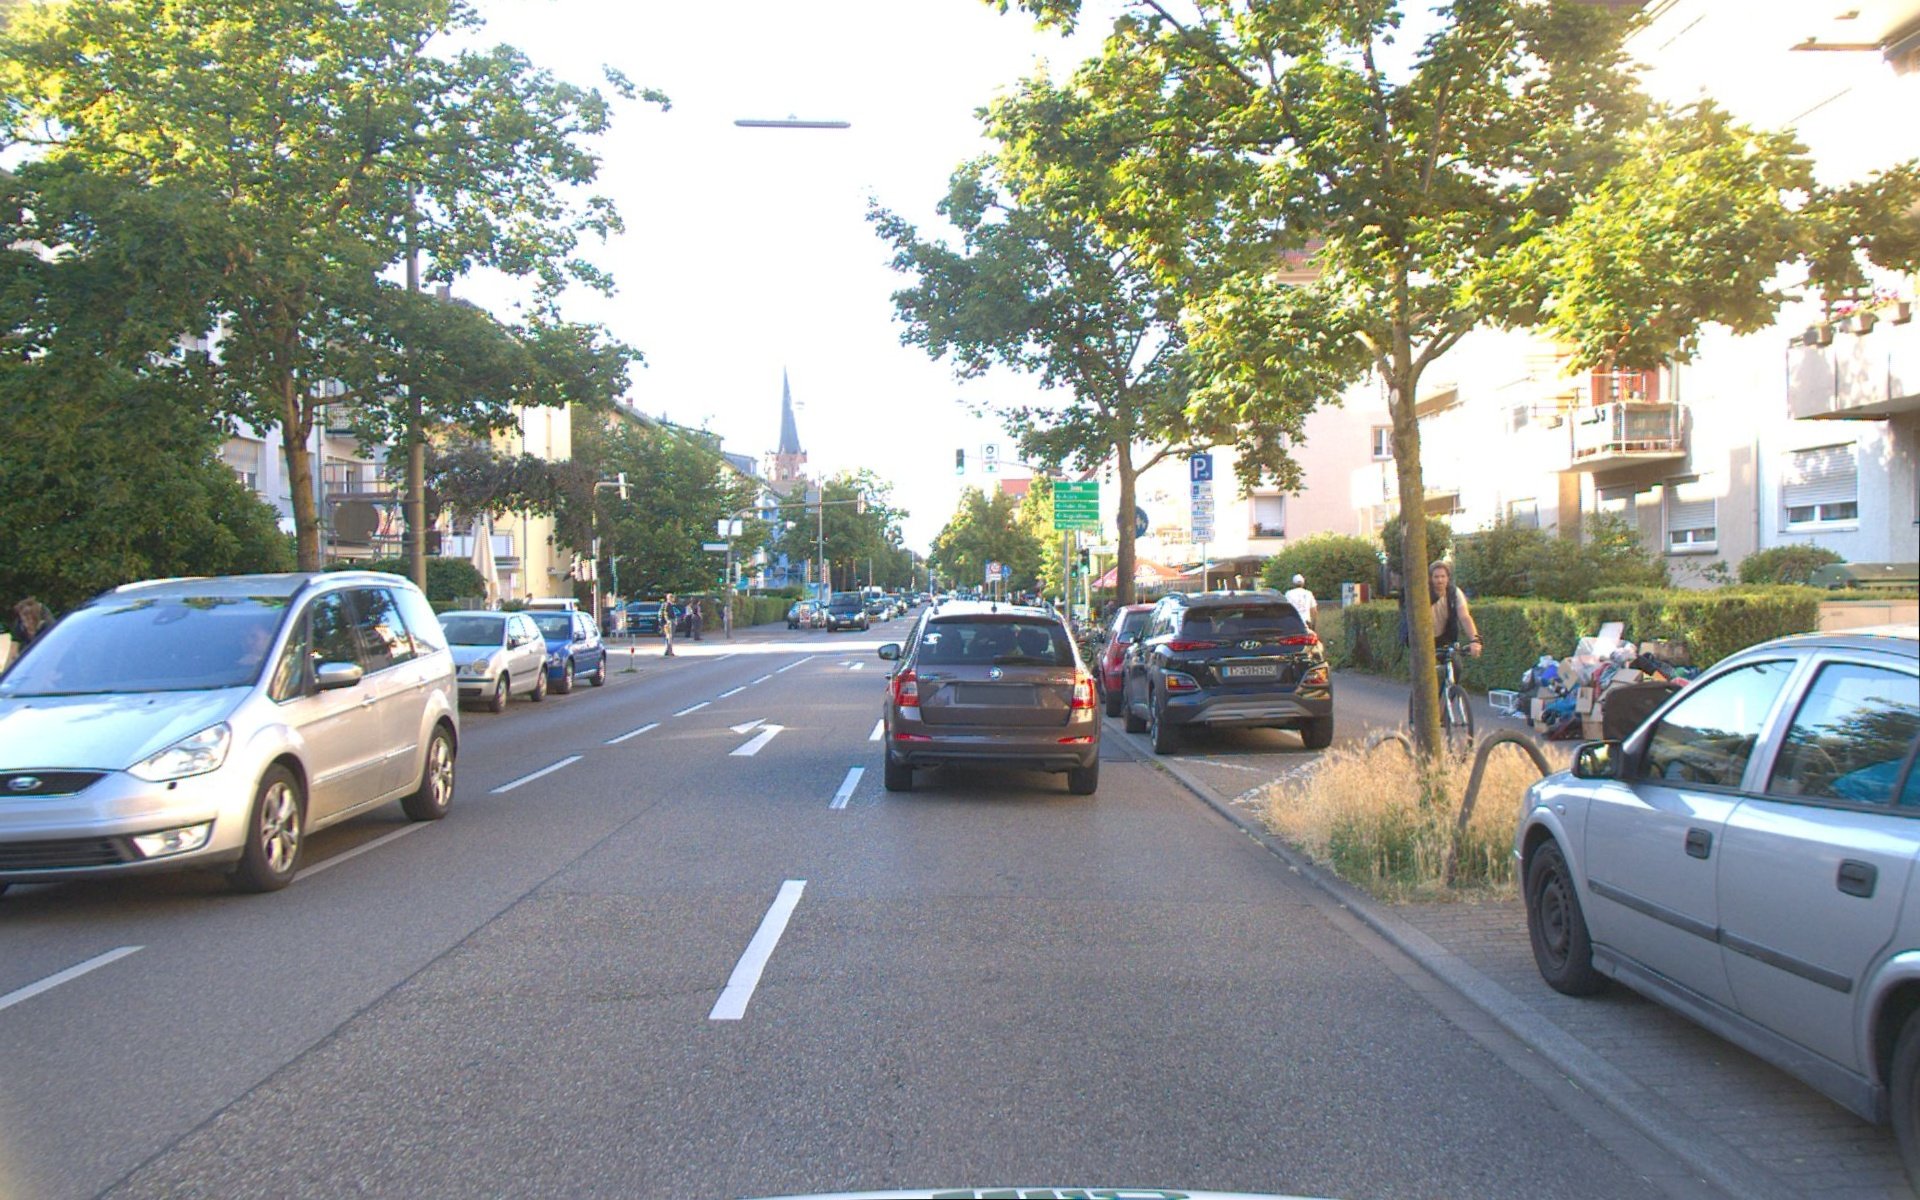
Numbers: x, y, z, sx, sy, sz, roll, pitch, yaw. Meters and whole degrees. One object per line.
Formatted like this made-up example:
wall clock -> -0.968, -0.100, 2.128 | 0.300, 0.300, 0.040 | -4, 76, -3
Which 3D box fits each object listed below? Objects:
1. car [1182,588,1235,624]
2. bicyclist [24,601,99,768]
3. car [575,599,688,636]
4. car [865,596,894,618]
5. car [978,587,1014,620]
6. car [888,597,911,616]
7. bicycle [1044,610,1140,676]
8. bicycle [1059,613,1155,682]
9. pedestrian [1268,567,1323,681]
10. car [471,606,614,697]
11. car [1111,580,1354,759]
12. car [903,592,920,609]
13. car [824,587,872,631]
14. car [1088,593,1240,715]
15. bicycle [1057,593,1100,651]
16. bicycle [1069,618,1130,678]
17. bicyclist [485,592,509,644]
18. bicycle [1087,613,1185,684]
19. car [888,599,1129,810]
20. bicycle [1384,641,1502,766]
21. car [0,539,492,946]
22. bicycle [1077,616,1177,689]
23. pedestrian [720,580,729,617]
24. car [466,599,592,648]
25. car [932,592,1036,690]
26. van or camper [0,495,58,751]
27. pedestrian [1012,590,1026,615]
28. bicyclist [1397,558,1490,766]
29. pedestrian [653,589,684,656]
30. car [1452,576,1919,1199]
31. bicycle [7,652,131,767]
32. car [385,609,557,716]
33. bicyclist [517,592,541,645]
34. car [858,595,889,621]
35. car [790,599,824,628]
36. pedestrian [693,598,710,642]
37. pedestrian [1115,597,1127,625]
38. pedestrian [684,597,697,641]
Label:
car -> 10.905, 0.269, 72.858 | 1.739, 1.512, 4.000 | -1, 0, 0
bicyclist -> -9.274, 0.858, 17.085 | 0.459, 1.692, 0.552 | -1, 0, -2
car -> -14.273, 0.759, 72.035 | 4.540, 1.562, 1.861 | 0, 0, -1
car -> -6.118, 0.540, 126.262 | 1.953, 1.639, 4.000 | -1, 0, 0
car -> 2.045, 0.182, 92.566 | 1.952, 1.803, 4.001 | 1, 0, 2
car -> -5.059, 0.550, 138.909 | 1.751, 1.598, 4.000 | 1, 0, 0
bicycle -> 2.617, 0.842, 32.748 | 1.796, 1.178, 0.684 | -4, 0, 6
bicycle -> 2.654, 0.845, 29.788 | 1.651, 1.127, 0.517 | -4, 0, 6
pedestrian -> 5.420, 0.384, 26.741 | 0.649, 1.779, 0.772 | -2, 0, 0
car -> -7.596, 0.894, 30.417 | 1.615, 1.544, 4.073 | 0, 0, 0
car -> 2.778, 0.658, 17.733 | 1.818, 1.609, 4.012 | -3, 0, -1
car -> -6.036, 0.005, 204.409 | 1.953, 2.049, 4.000 | -1, 0, 0
car -> -5.382, 0.422, 79.914 | 1.953, 1.942, 4.963 | -3, 0, -1
car -> 2.742, 0.679, 22.987 | 1.668, 1.475, 4.014 | -3, 0, 2
bicycle -> 2.493, 0.454, 34.972 | 0.492, 1.167, 1.956 | -3, 0, -6
bicycle -> 2.627, 0.881, 31.029 | 0.606, 1.070, 1.572 | -1, 0, 25
bicyclist -> -16.614, 0.639, 59.361 | 0.725, 1.855, 0.652 | -1, 0, -9
bicycle -> 2.862, 0.784, 26.951 | 1.538, 1.123, 0.501 | -1, 0, 0
car -> 0.310, 0.750, 14.078 | 1.737, 1.515, 4.310 | 0, 0, -1
bicycle -> 4.347, 0.903, 15.004 | 0.505, 1.004, 1.831 | -1, 0, 0
car -> -4.392, 0.674, 10.016 | 1.769, 1.836, 4.744 | -3, 0, -1
bicycle -> 2.652, 0.828, 26.343 | 1.538, 1.123, 0.392 | -1, 0, 0
pedestrian -> -10.025, -0.066, 70.413 | 0.294, 1.530, 0.640 | -1, 0, 0
car -> -17.193, 0.937, 66.106 | 4.540, 1.843, 1.861 | -1, 0, -1
car -> 0.402, 0.674, 29.475 | 1.701, 1.598, 4.000 | 1, 0, 0
van or camper -> -13.896, 0.175, 18.086 | 6.660, 2.821, 2.351 | 1, 0, -2
pedestrian -> 4.095, 0.154, 114.435 | 0.661, 1.734, 0.800 | -1, 0, 26
bicyclist -> 4.378, 0.546, 15.015 | 0.569, 1.820, 0.852 | -1, 0, -1
pedestrian -> -9.049, 0.696, 51.355 | 0.764, 2.022, 0.821 | -1, 0, 0
car -> 3.080, 0.700, 5.198 | 1.673, 1.506, 4.267 | -3, 0, -1
bicycle -> -9.265, 1.112, 17.242 | 0.476, 1.083, 1.534 | -1, 0, -1
car -> -7.552, 0.922, 25.886 | 1.561, 1.496, 3.803 | 1, 0, 0
bicyclist -> -15.302, 0.661, 58.780 | 0.725, 1.855, 0.652 | -1, 0, -9
car -> -5.694, 0.520, 109.155 | 1.793, 1.607, 3.999 | -1, 0, 0
car -> -8.152, 0.717, 88.158 | 1.491, 1.482, 3.584 | -1, 0, -1
pedestrian -> -10.796, 0.837, 69.086 | 0.603, 1.828, 0.504 | -1, 0, 0
pedestrian -> 7.616, 0.513, 78.357 | 0.489, 1.325, 0.506 | -1, 0, -3
pedestrian -> -11.301, 0.792, 69.388 | 0.440, 1.828, 0.504 | -1, 0, 0
